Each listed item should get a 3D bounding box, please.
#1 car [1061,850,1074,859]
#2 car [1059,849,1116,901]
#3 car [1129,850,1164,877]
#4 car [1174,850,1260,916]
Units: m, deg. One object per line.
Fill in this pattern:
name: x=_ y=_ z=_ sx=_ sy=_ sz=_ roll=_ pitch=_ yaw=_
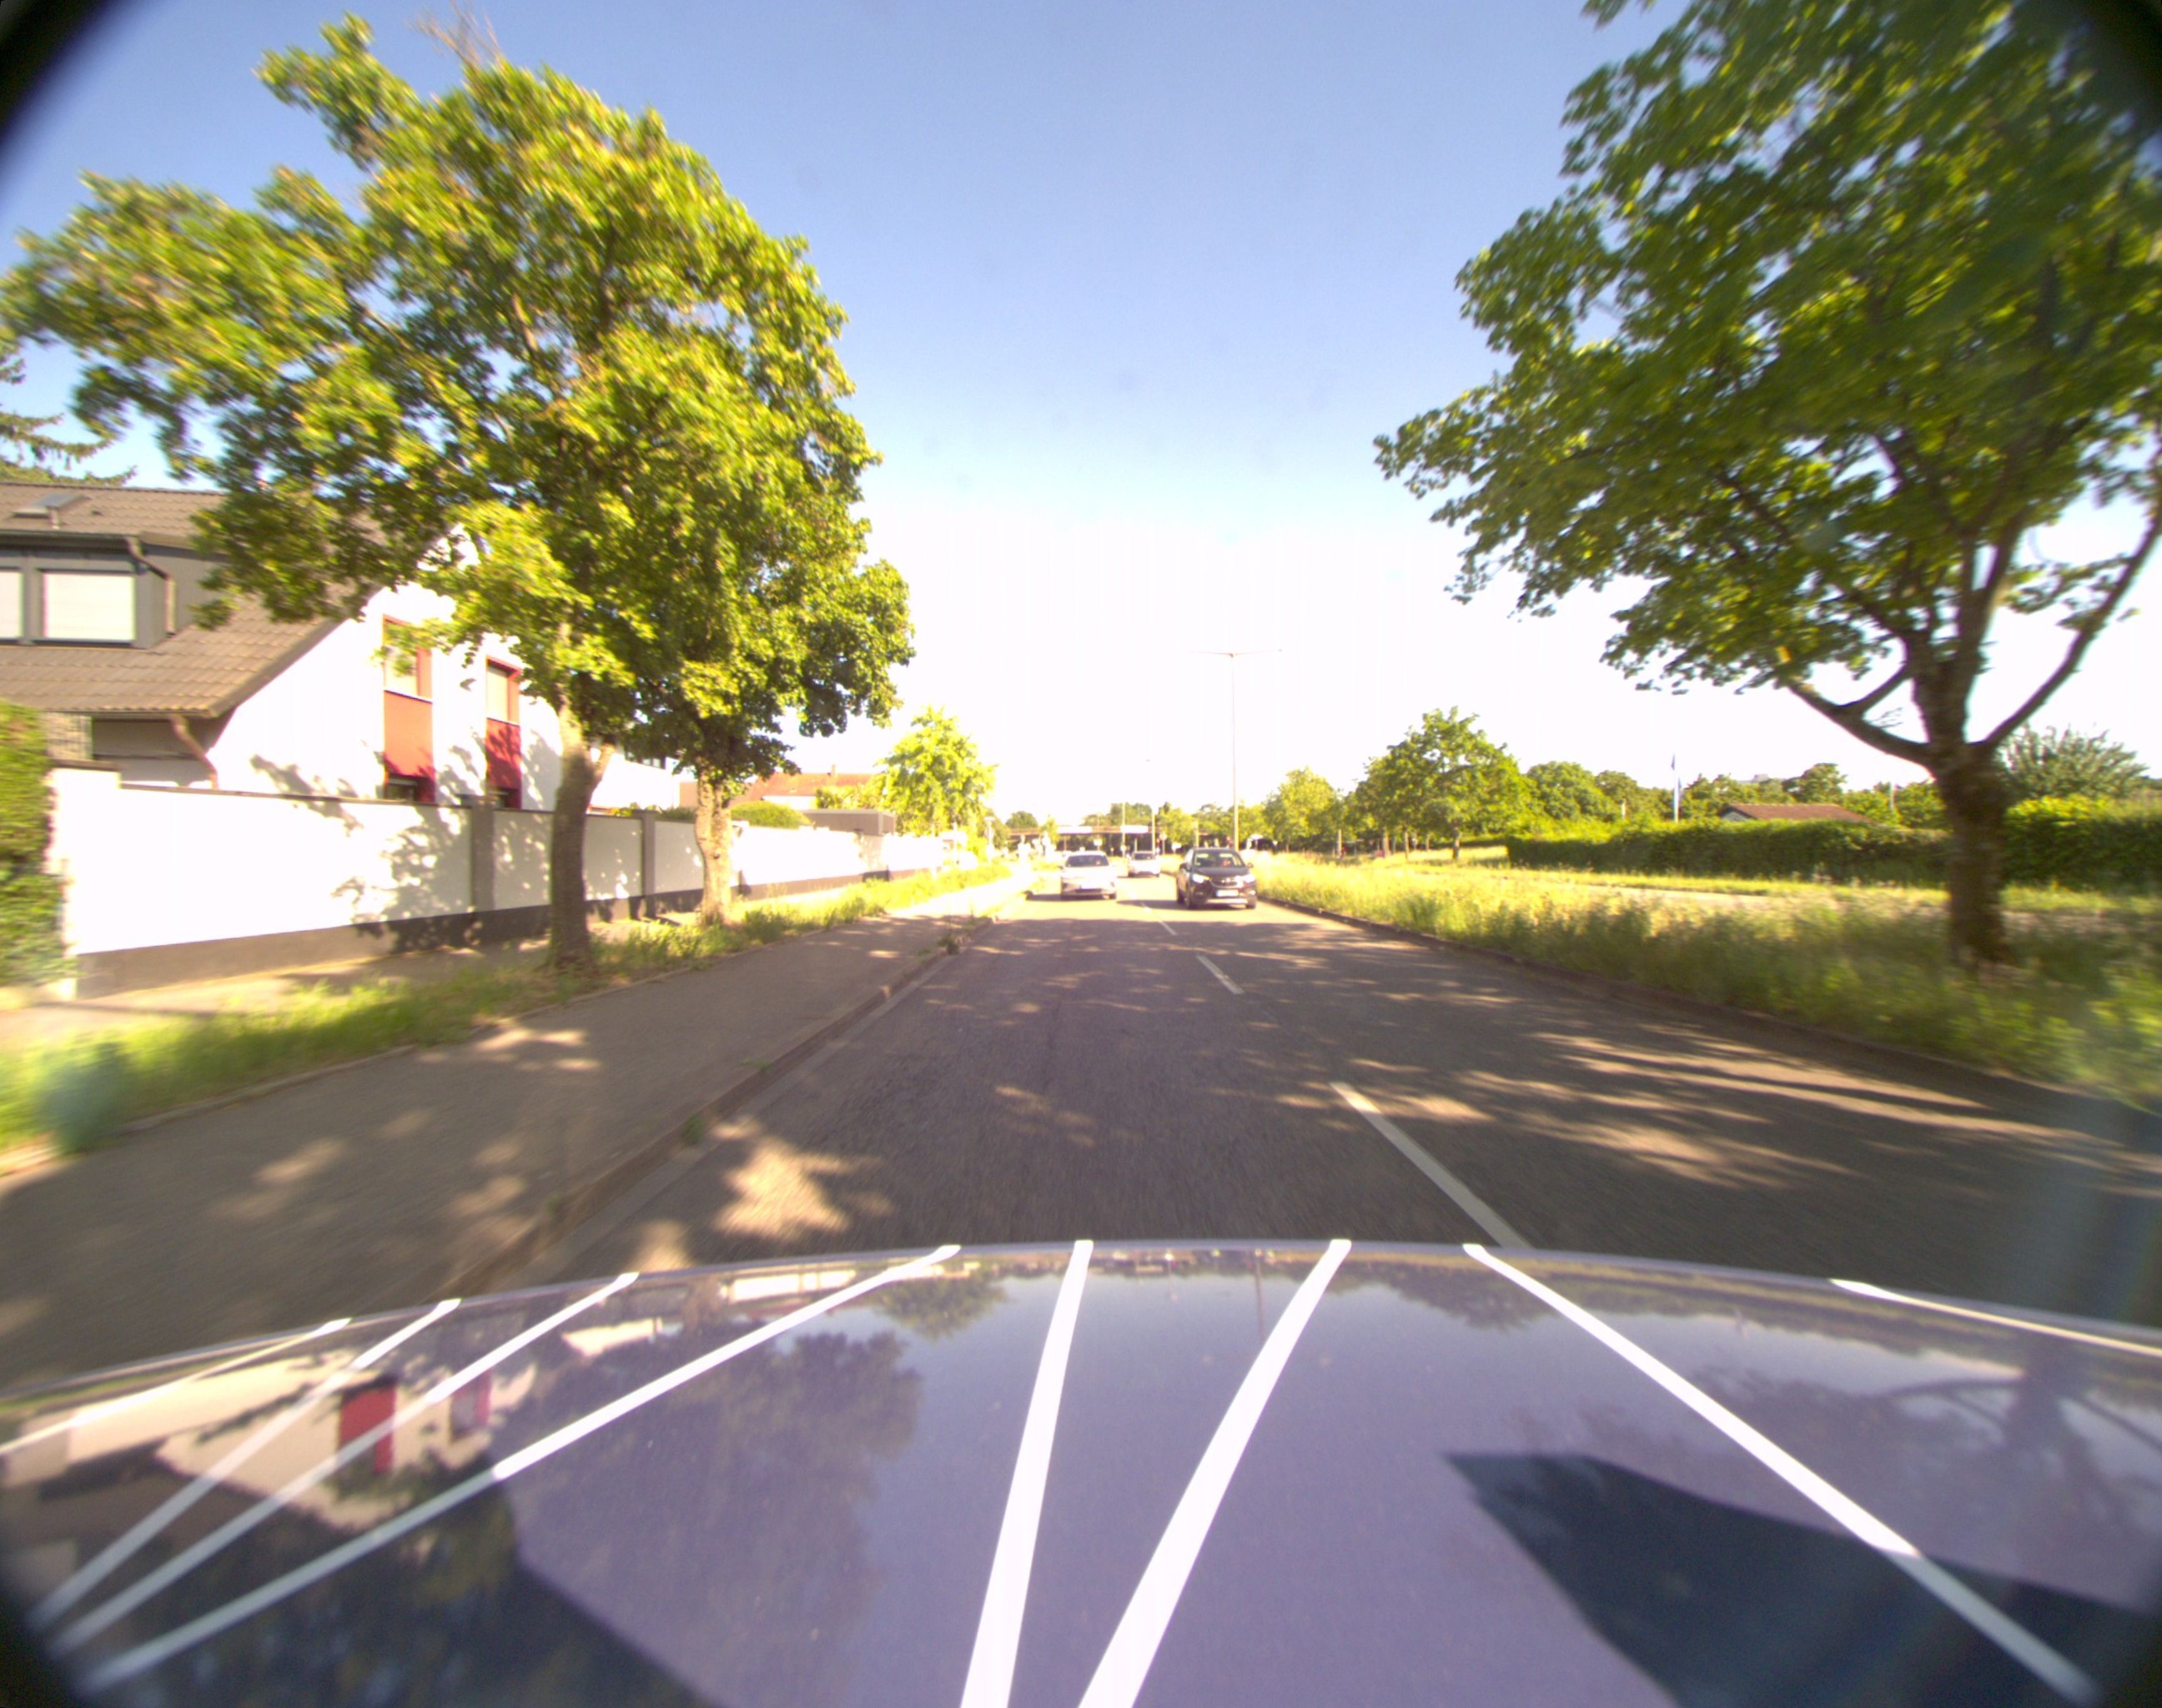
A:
car: x=-2.546 y=0.098 z=143.123 sx=1.874 sy=1.611 sz=3.833 roll=-1 pitch=0 yaw=-8
car: x=0.261 y=0.684 z=26.464 sx=1.801 sy=1.664 sz=4.240 roll=-1 pitch=0 yaw=2
car: x=3.963 y=0.554 z=46.783 sx=1.830 sy=1.604 sz=4.092 roll=-1 pitch=0 yaw=0
car: x=3.634 y=0.713 z=20.910 sx=1.714 sy=1.653 sz=3.856 roll=0 pitch=0 yaw=0
